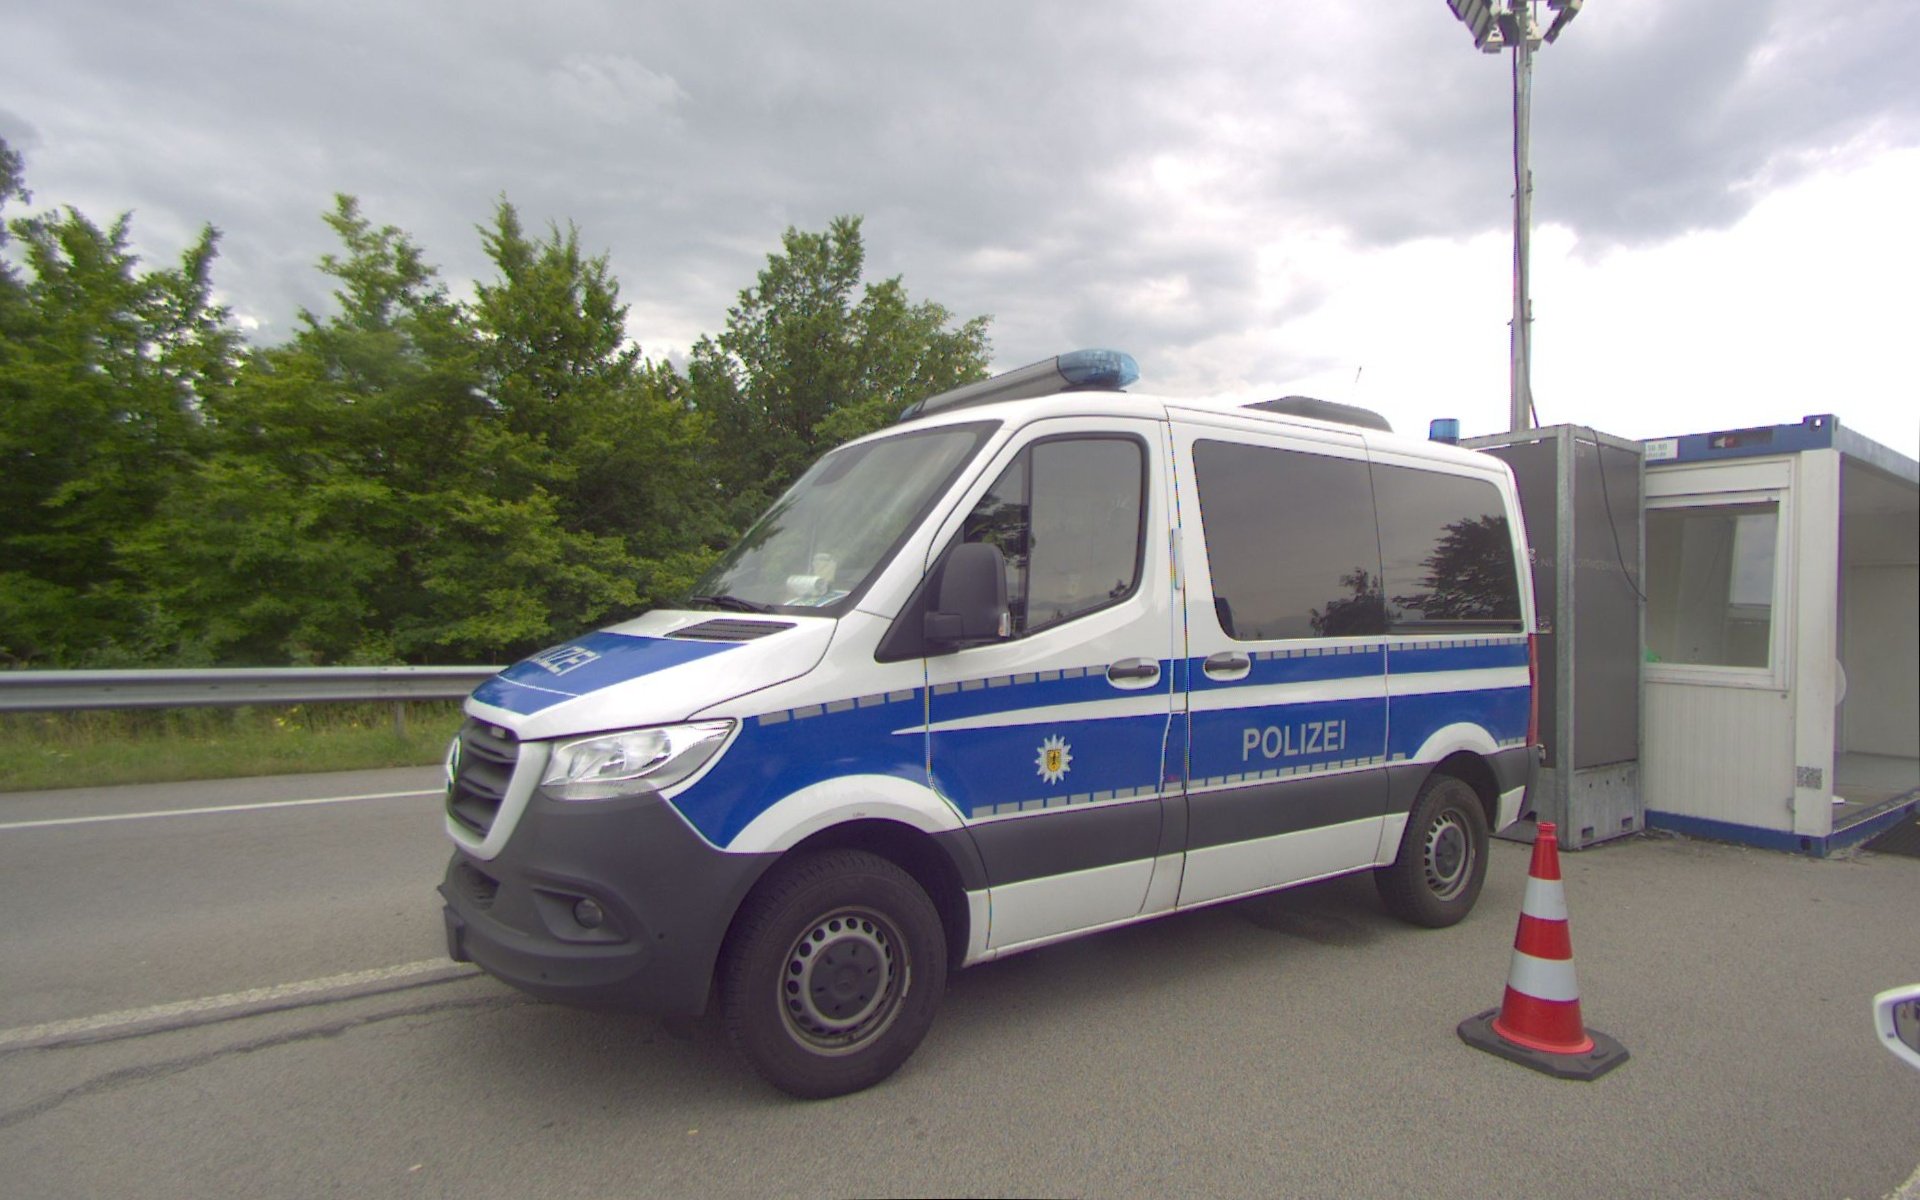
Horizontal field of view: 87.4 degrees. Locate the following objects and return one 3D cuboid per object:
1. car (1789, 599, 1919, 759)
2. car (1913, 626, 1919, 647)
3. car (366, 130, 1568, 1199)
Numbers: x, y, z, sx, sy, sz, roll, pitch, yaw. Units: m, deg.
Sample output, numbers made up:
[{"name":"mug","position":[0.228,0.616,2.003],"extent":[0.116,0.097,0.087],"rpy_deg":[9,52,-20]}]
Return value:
[{"name":"car","position":[12.159,0.928,12.461],"extent":[3.967,1.767,1.857],"rpy_deg":[2,0,-34]},{"name":"car","position":[69.902,2.647,72.281],"extent":[4.229,1.518,1.837],"rpy_deg":[2,0,-45]},{"name":"car","position":[0.401,0.242,4.568],"extent":[5.224,2.496,2.017],"rpy_deg":[1,0,-34]}]
